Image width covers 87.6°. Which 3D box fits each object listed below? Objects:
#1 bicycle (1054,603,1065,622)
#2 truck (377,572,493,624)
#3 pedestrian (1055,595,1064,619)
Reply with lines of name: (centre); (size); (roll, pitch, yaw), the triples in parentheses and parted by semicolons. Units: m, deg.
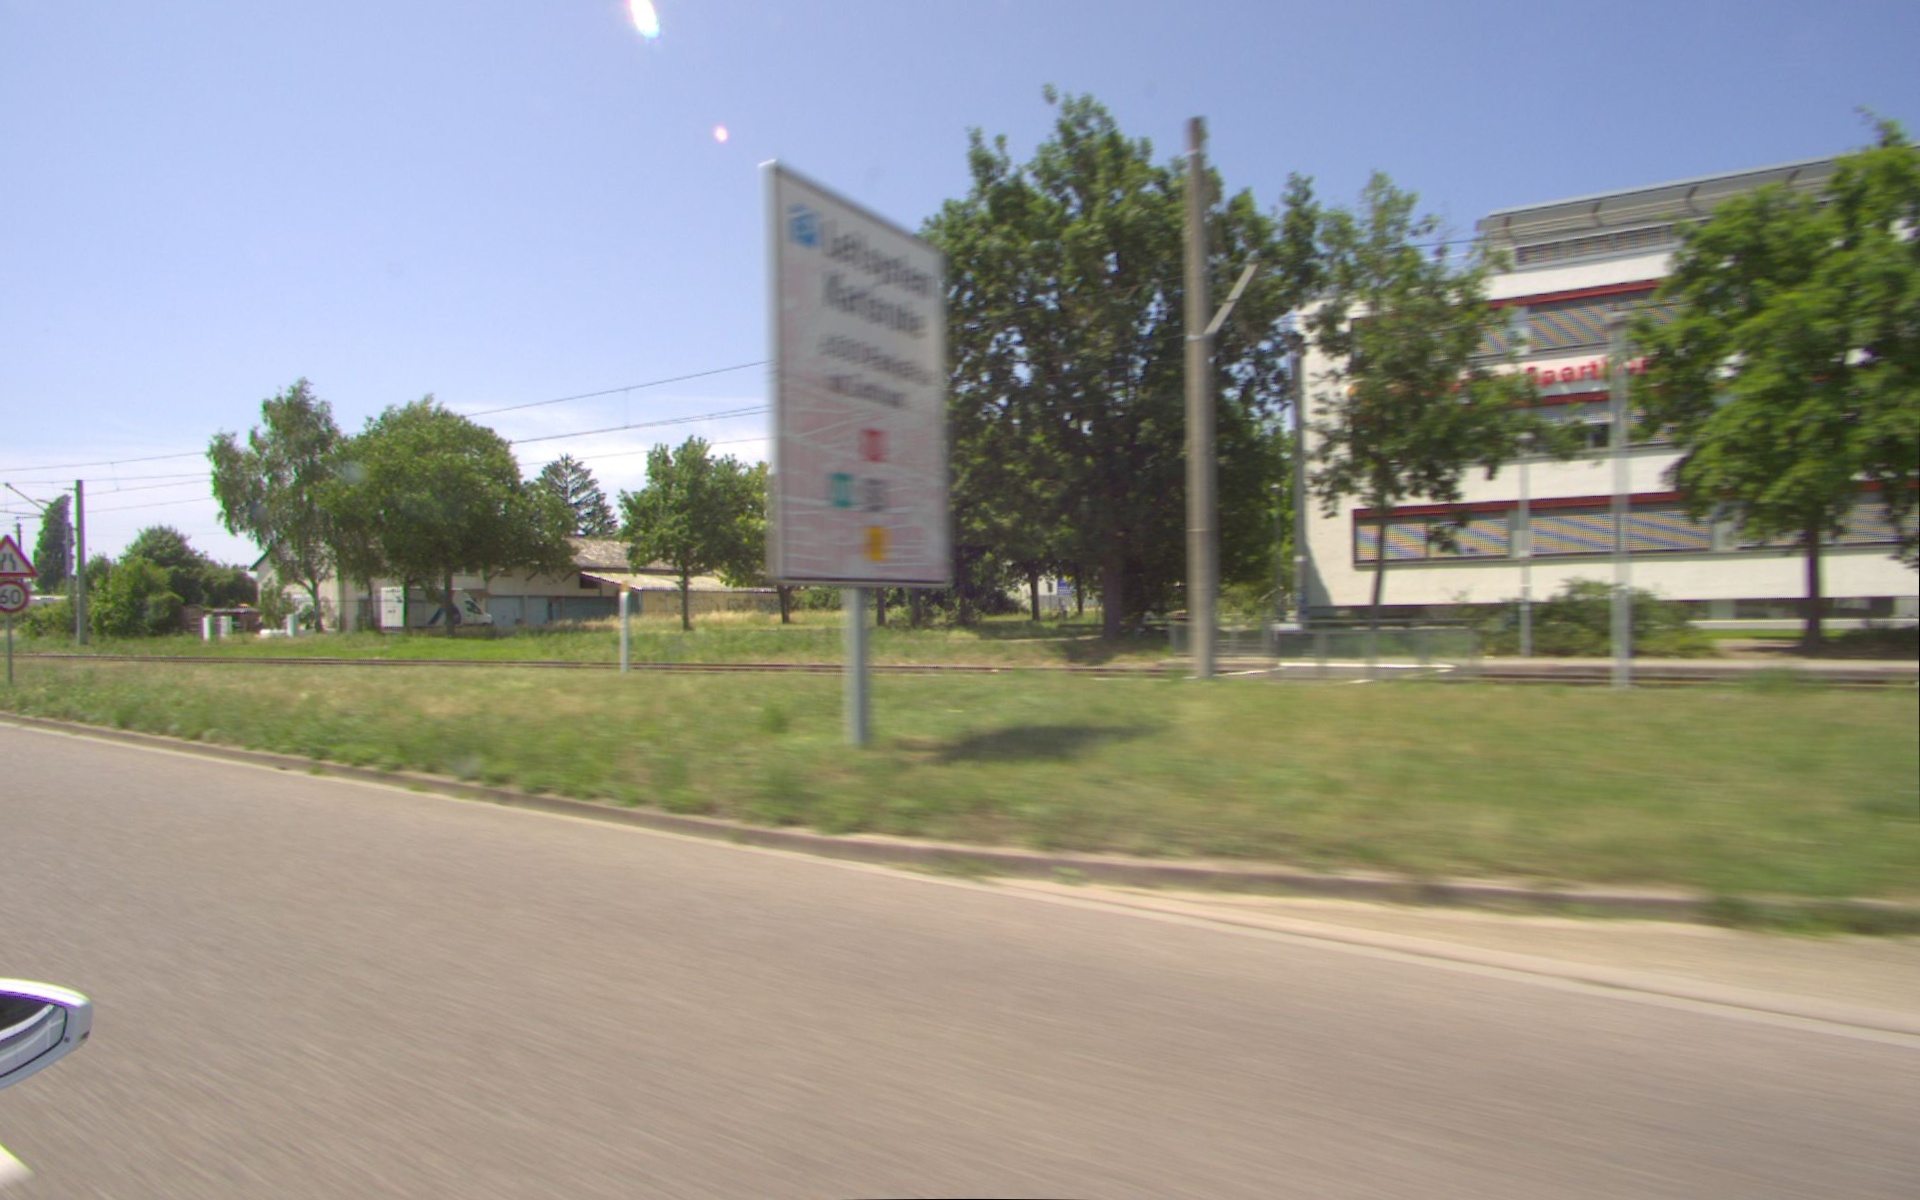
bicycle: (6.025, 0.778, 60.636); (0.423, 1.134, 1.579); (0, 0, 14)
truck: (-30.783, -0.140, 58.951); (2.282, 2.881, 5.840); (-1, 1, 24)
pedestrian: (6.057, 0.408, 60.708); (0.450, 1.422, 0.583); (-1, 1, 12)
